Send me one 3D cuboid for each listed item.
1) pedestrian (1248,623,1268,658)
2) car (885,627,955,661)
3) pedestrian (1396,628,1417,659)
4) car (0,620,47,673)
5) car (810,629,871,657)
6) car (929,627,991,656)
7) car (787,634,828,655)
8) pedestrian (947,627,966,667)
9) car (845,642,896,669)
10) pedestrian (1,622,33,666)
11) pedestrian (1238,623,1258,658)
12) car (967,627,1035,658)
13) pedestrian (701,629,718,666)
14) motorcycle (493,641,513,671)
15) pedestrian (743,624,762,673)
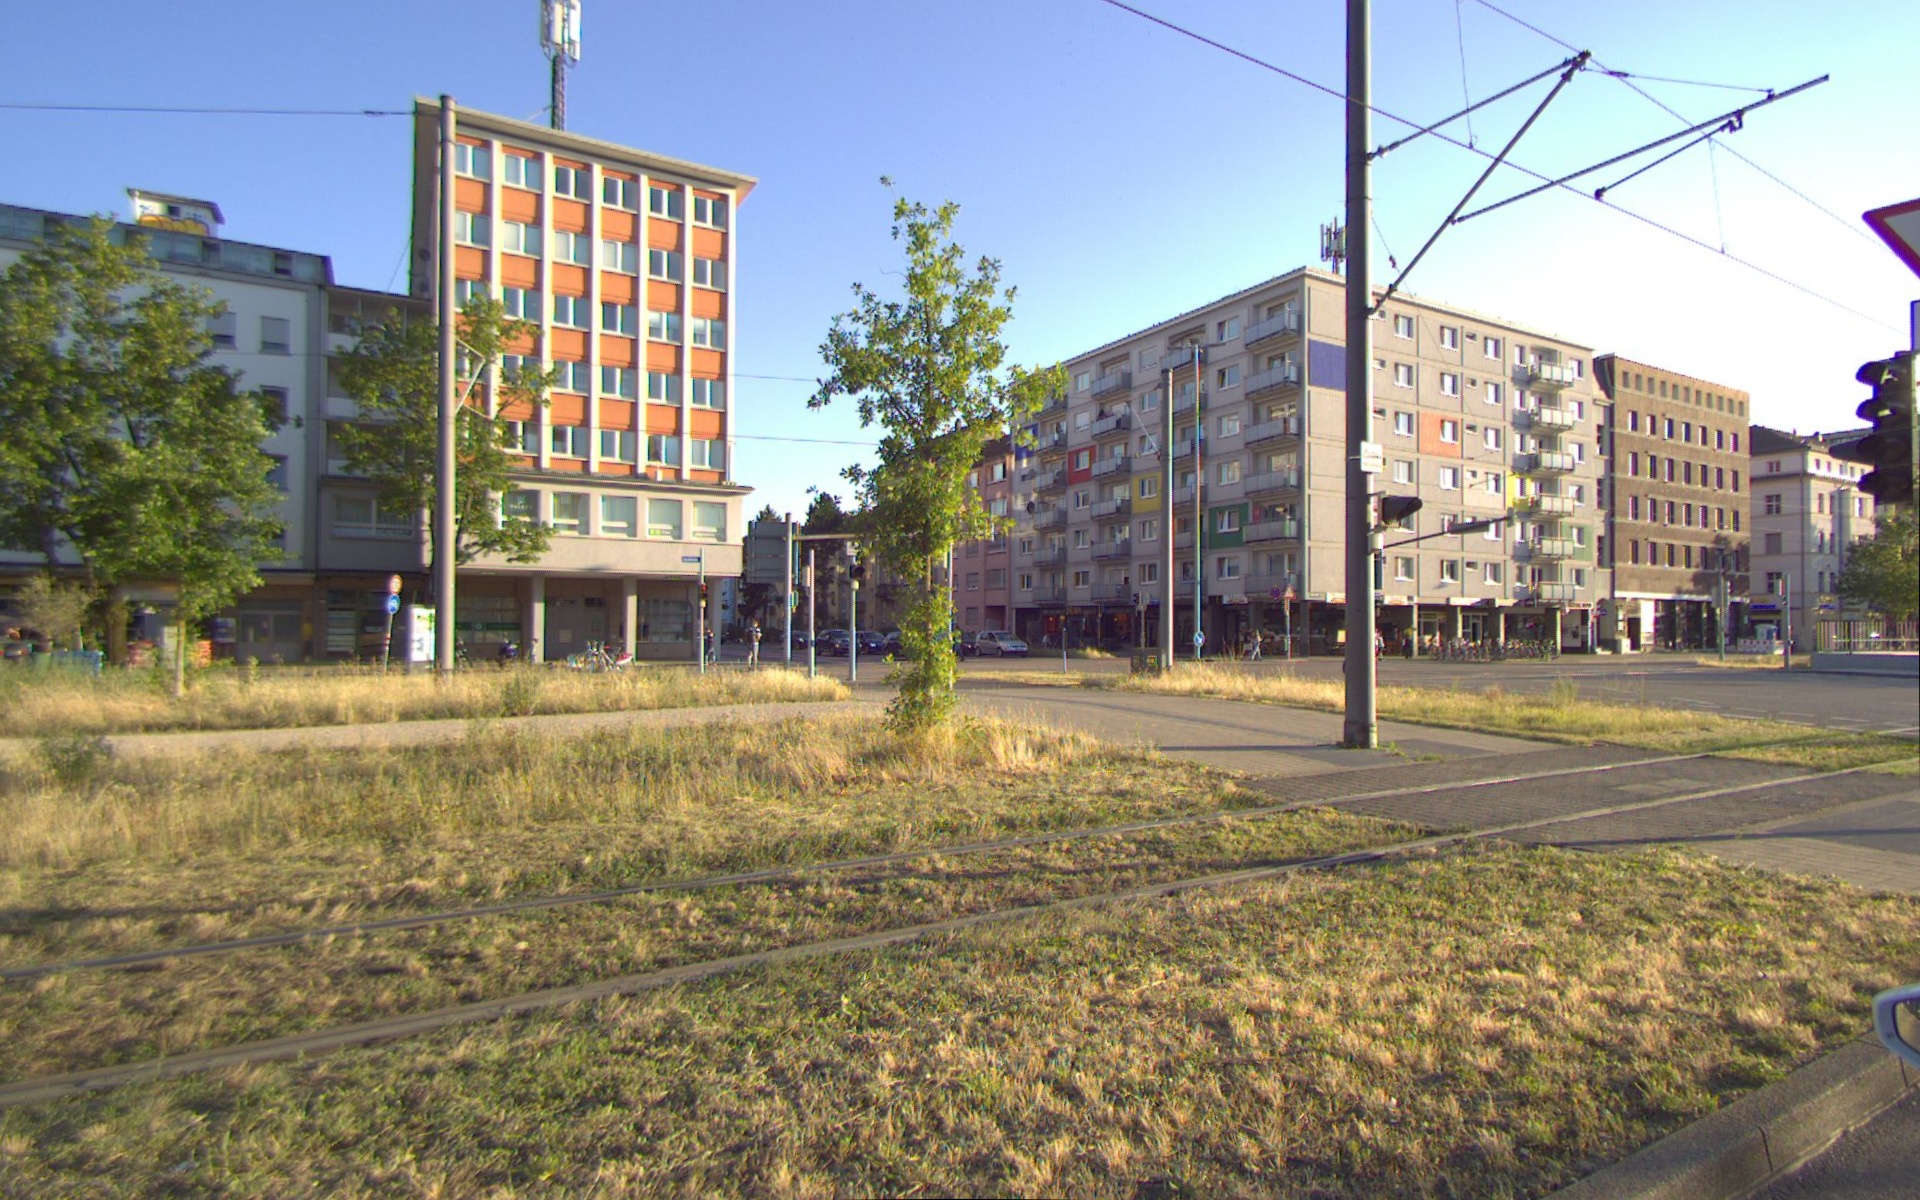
[{"bbox_3d":[15.993,2.159,53.906,0.812,1.872,0.599,-1,-1,-30],"label":"pedestrian"},{"bbox_3d":[-2.116,2.308,52.319,1.786,1.605,3.840,0,-3,-35],"label":"car"},{"bbox_3d":[24.843,2.392,55.916,0.768,1.692,0.740,-1,-1,-7],"label":"pedestrian"},{"bbox_3d":[-30.030,1.400,29.676,4.213,1.547,1.758,-1,-1,-8],"label":"car"},{"bbox_3d":[-7.377,2.627,61.609,1.969,1.606,4.252,0,-1,-35],"label":"car"},{"bbox_3d":[-0.015,2.463,59.806,1.786,1.606,3.839,0,-1,-35],"label":"car"},{"bbox_3d":[-11.918,3.449,78.271,1.804,1.572,3.969,0,-1,-30],"label":"car"},{"bbox_3d":[-0.155,2.253,48.519,0.673,1.872,0.630,-1,-1,-30],"label":"pedestrian"},{"bbox_3d":[-5.782,3.564,64.607,1.804,1.572,3.969,-1,-1,-30],"label":"car"},{"bbox_3d":[-33.498,1.556,35.688,0.723,1.548,0.687,0,-1,-33],"label":"pedestrian"},{"bbox_3d":[15.643,2.182,54.573,0.728,1.876,0.701,-1,-1,-30],"label":"pedestrian"},{"bbox_3d":[2.207,2.335,55.401,1.786,1.606,3.839,0,-1,-35],"label":"car"},{"bbox_3d":[-11.075,2.095,44.445,0.608,1.651,0.512,-1,-1,-30],"label":"pedestrian"},{"bbox_3d":[-17.382,2.113,38.218,0.525,1.082,1.442,0,-1,-31],"label":"motorcycle"},{"bbox_3d":[-7.787,1.803,37.702,0.638,1.786,0.721,-1,-1,-9],"label":"pedestrian"}]
